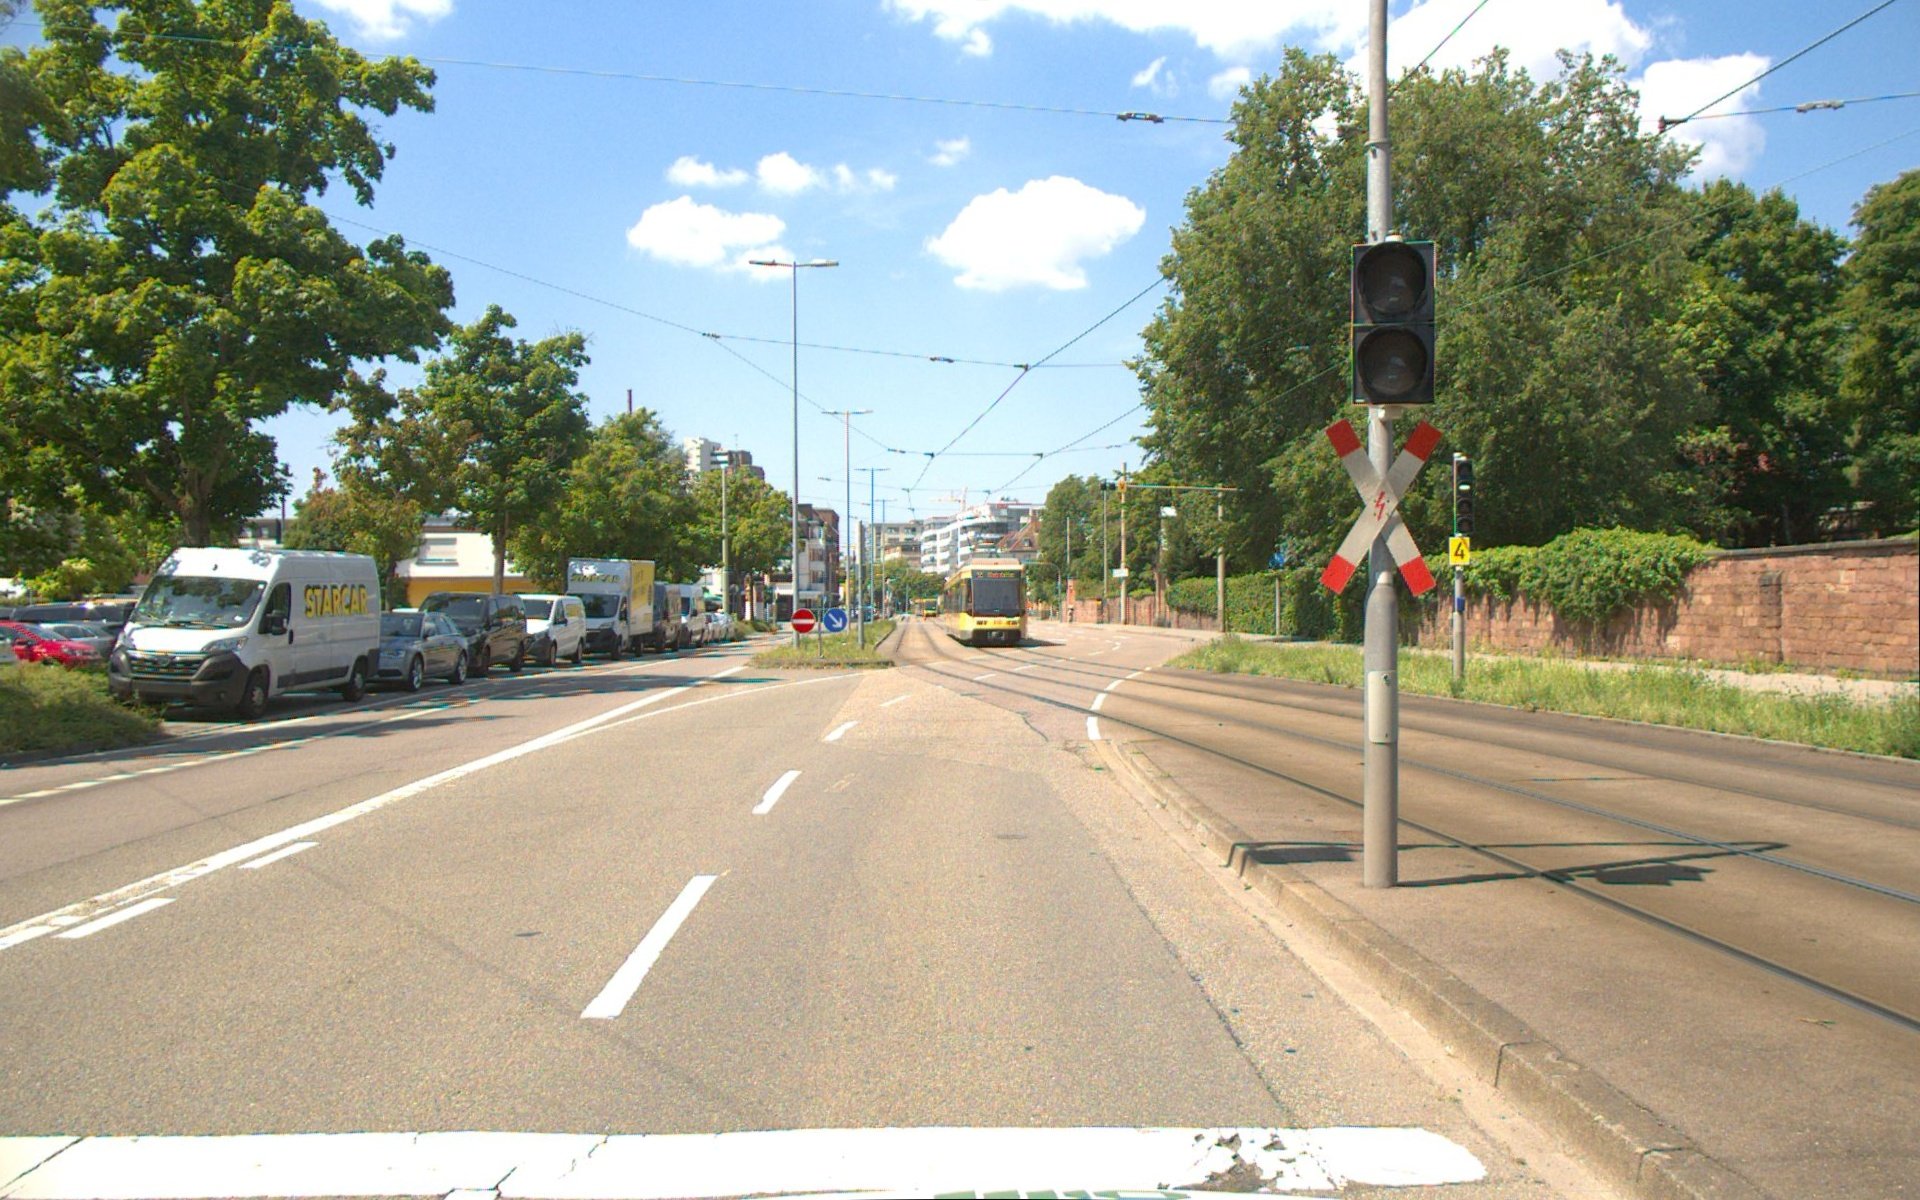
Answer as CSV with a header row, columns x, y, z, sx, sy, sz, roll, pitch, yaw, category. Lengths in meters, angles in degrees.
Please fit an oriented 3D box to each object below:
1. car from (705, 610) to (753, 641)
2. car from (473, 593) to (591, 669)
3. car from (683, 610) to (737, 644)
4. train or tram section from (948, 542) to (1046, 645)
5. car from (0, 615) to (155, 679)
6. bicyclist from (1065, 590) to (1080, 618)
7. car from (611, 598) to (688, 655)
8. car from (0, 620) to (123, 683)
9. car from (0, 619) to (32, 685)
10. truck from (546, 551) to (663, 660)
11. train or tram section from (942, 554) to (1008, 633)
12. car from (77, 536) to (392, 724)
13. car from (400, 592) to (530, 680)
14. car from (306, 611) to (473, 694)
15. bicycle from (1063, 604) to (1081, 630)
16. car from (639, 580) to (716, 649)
x,y,z,sx,sy,sz,roll,pitch,yaw,category
-12.627,1.384,90.609,2.019,1.609,4.870,-1,0,-1,car
-11.716,0.810,45.612,2.019,1.931,4.870,-1,0,-1,car
-12.486,1.316,82.984,2.019,1.609,4.870,-1,0,-1,car
1.277,-0.242,69.881,2.884,3.756,18.379,0,0,-3,train or tram section
-22.026,1.138,40.298,3.907,1.467,1.804,-1,0,-3,car
8.708,0.334,128.374,1.074,2.145,1.031,0,-1,-1,bicyclist
-11.569,0.939,61.850,2.019,2.011,4.870,-1,0,-1,car
-21.542,1.173,37.766,3.907,1.363,1.804,-1,0,-3,car
-22.206,1.137,35.147,3.907,1.363,1.804,-1,0,-3,car
-11.568,0.176,54.383,2.112,3.266,7.082,2,0,1,truck
0.596,-0.321,89.154,2.884,3.756,20.277,0,0,-1,train or tram section
-11.214,0.420,26.237,2.112,2.530,6.193,2,0,1,car
-11.575,0.804,38.951,1.831,1.928,4.270,-1,0,-1,car
-11.096,0.977,32.504,1.831,1.462,4.341,-1,0,-1,car
8.690,1.331,128.418,1.070,1.941,3.681,-1,0,-1,bicycle
-11.877,0.587,69.892,2.112,2.685,5.611,2,0,1,car
